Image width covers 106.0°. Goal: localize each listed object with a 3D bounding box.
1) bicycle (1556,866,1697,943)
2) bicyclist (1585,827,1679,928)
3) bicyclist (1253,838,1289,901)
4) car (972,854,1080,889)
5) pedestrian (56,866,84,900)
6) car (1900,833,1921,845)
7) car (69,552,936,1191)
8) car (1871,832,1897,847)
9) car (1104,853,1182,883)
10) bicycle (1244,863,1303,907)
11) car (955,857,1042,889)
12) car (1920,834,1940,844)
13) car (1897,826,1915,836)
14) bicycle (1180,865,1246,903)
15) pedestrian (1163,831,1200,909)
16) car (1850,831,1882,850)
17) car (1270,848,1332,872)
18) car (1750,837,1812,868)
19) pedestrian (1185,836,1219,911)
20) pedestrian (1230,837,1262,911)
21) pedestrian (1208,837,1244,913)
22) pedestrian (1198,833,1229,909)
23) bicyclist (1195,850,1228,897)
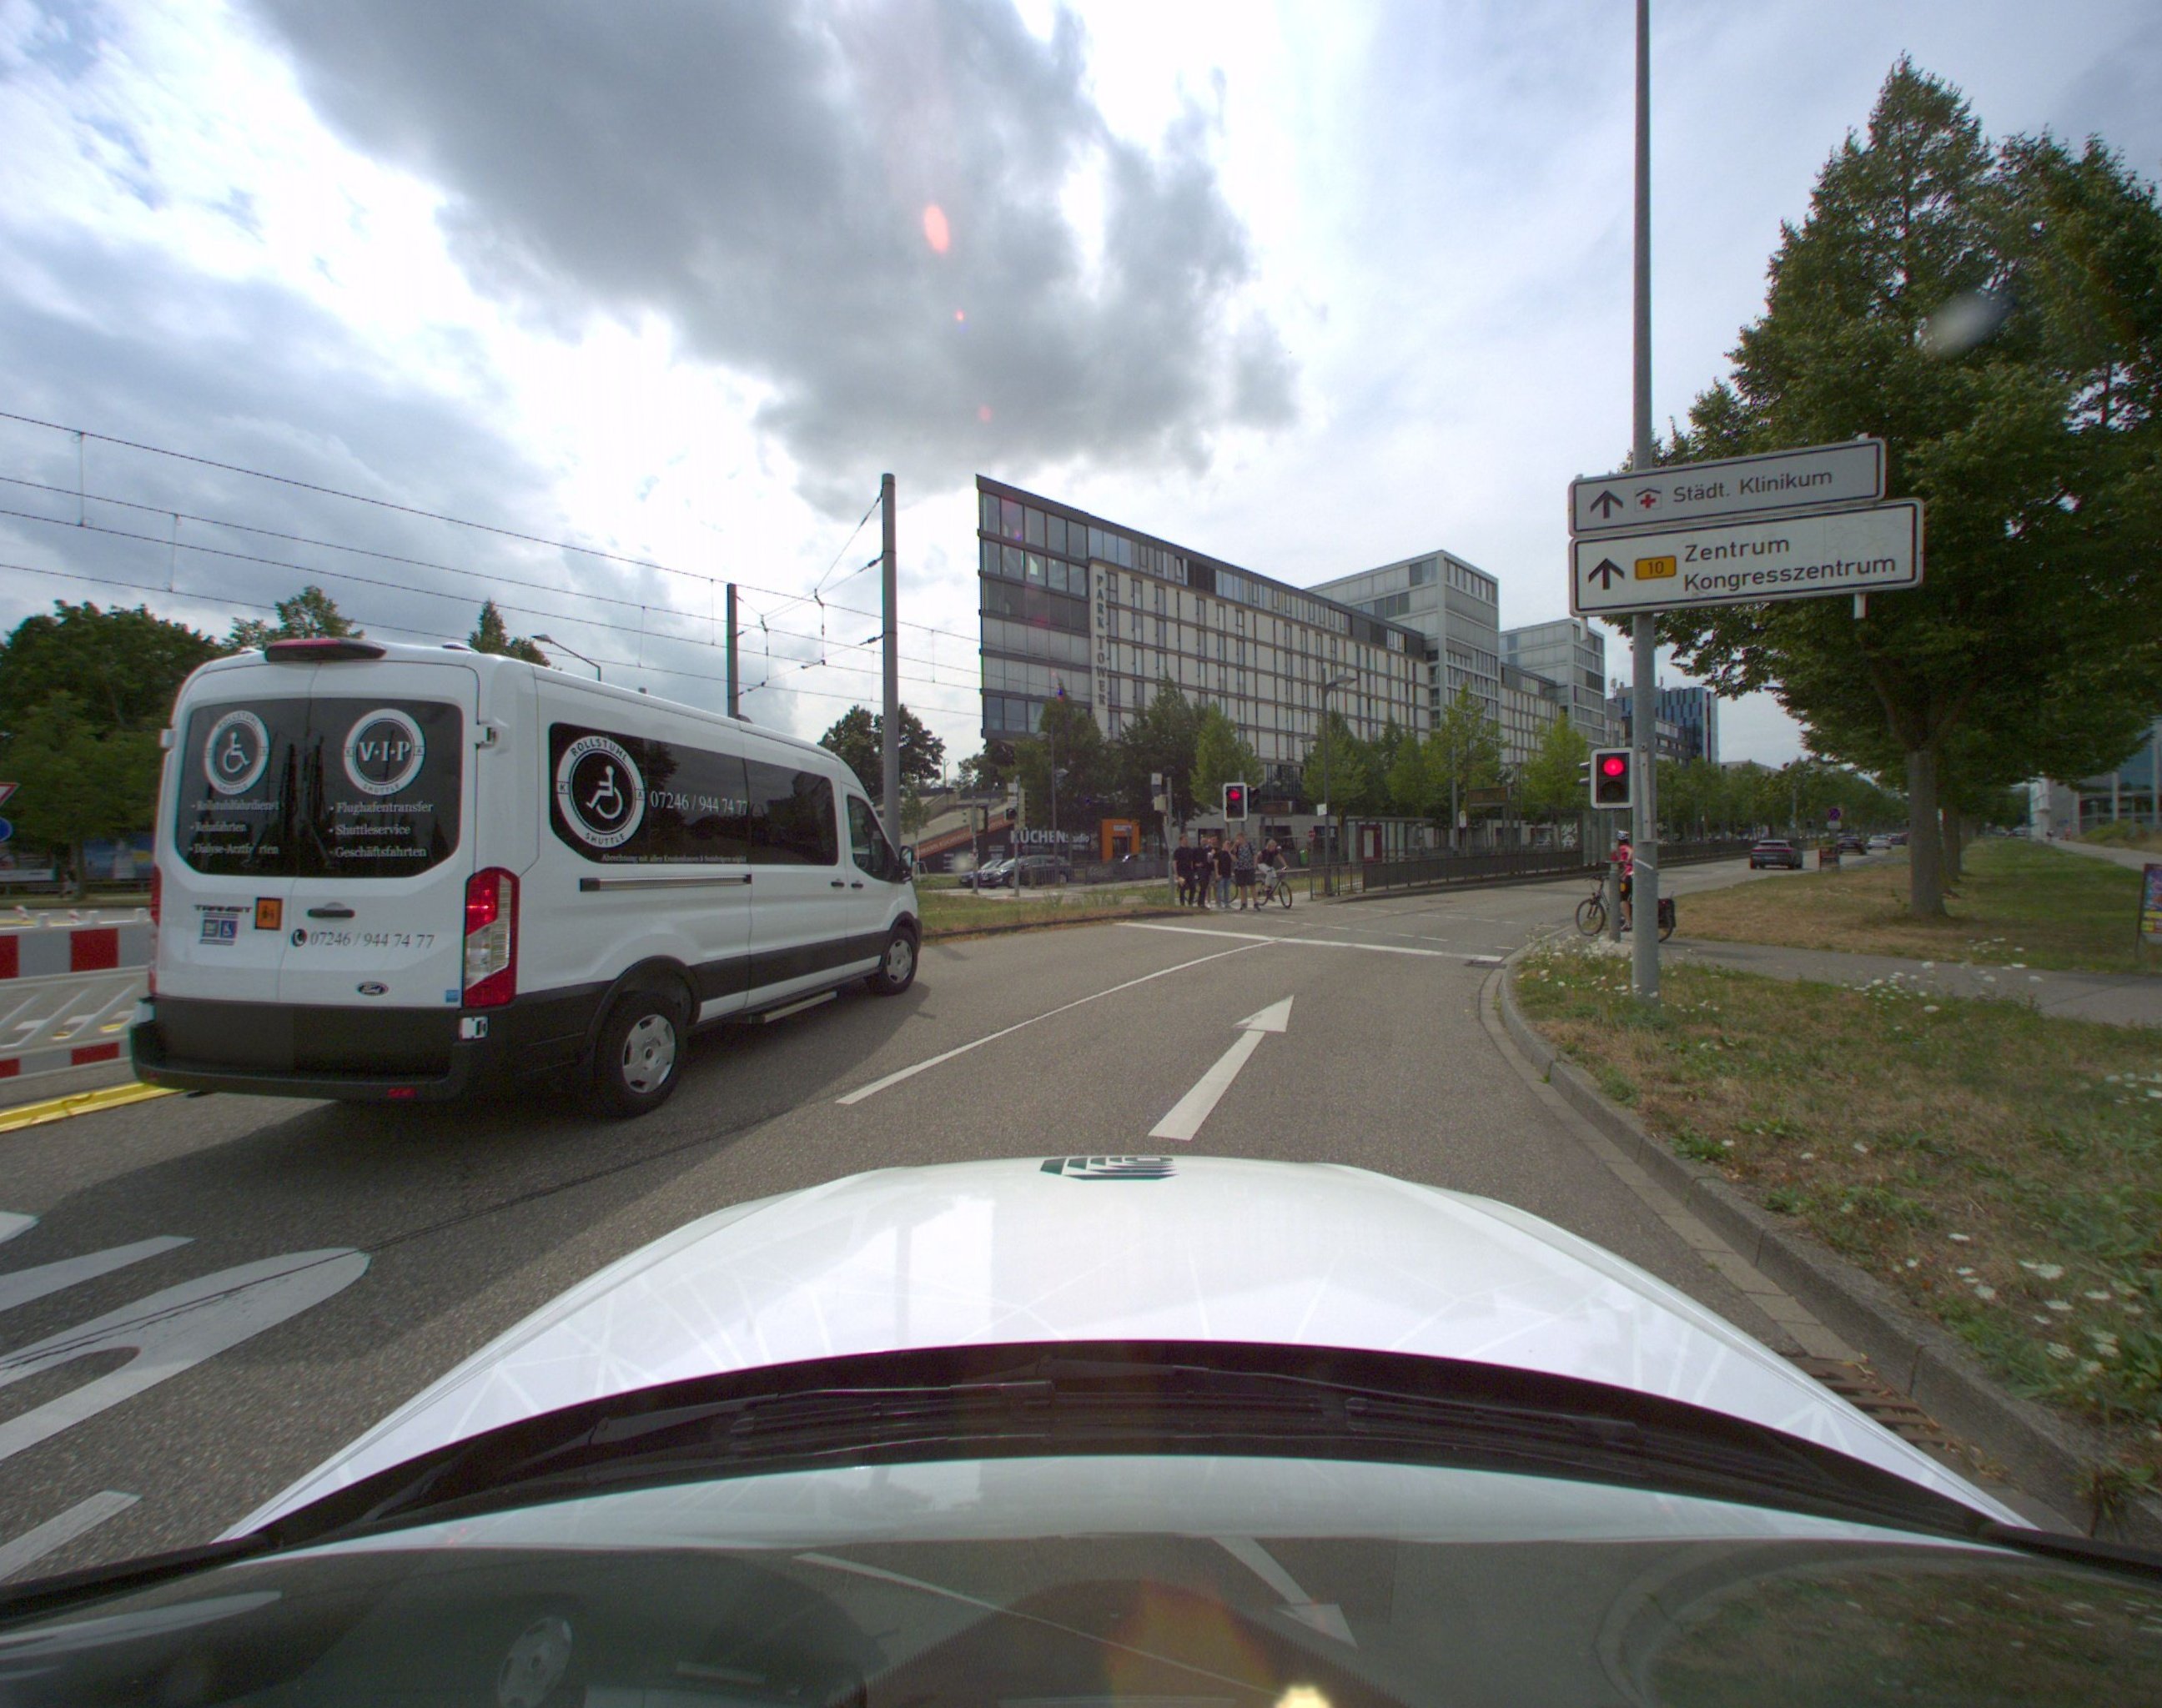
[{"bbox_3d":[9.285,0.822,13.984,0.790,1.168,2.033,-1,0,-12],"label":"bicycle"},{"bbox_3d":[9.316,0.376,13.809,0.790,1.627,1.044,-1,0,-12],"label":"bicyclist"},{"bbox_3d":[4.877,0.381,20.934,0.561,1.580,0.759,0,0,-23],"label":"bicyclist"},{"bbox_3d":[-2.474,0.772,37.441,4.762,1.458,1.827,-1,0,-40],"label":"car"},{"bbox_3d":[-48.096,1.362,38.746,0.445,1.594,0.672,-1,0,3],"label":"pedestrian"},{"bbox_3d":[105.441,-1.869,103.544,4.140,1.497,1.780,-1,0,-44],"label":"car"},{"bbox_3d":[-3.131,0.076,6.372,2.113,2.697,5.646,-1,0,9],"label":"car"},{"bbox_3d":[84.875,-1.543,86.058,4.284,1.462,1.808,-1,0,-44],"label":"car"},{"bbox_3d":[3.334,0.709,43.331,4.020,1.458,1.827,-1,0,-40],"label":"car"},{"bbox_3d":[4.912,0.780,20.874,0.549,1.058,1.700,0,0,-23],"label":"bicycle"},{"bbox_3d":[-4.062,0.892,40.436,4.021,1.458,1.827,-1,0,-40],"label":"car"},{"bbox_3d":[143.122,-2.526,137.263,4.776,1.618,1.977,-1,0,-40],"label":"car"},{"bbox_3d":[142.684,-3.971,140.855,4.779,1.618,1.976,-1,0,-43],"label":"car"},{"bbox_3d":[3.721,0.838,23.052,1.734,1.007,0.658,0,0,41],"label":"bicycle"},{"bbox_3d":[2.358,0.365,19.108,0.546,1.781,0.694,0,0,43],"label":"pedestrian"},{"bbox_3d":[67.109,-1.157,69.603,4.169,1.519,1.720,-1,0,-43],"label":"car"},{"bbox_3d":[14.012,0.338,51.823,4.020,1.458,1.827,-1,0,-40],"label":"car"},{"bbox_3d":[37.926,-0.115,44.068,4.500,1.551,2.039,-1,1,-43],"label":"car"},{"bbox_3d":[2.939,0.468,19.801,0.546,1.781,0.637,0,0,43],"label":"pedestrian"},{"bbox_3d":[4.041,0.470,19.966,0.546,1.781,0.584,0,0,43],"label":"pedestrian"},{"bbox_3d":[3.472,0.491,19.505,0.546,1.781,0.694,0,0,43],"label":"pedestrian"},{"bbox_3d":[3.305,0.410,20.319,0.546,1.862,0.534,0,0,43],"label":"pedestrian"},{"bbox_3d":[3.706,0.548,23.076,0.666,1.317,0.644,0,0,41],"label":"bicyclist"}]
